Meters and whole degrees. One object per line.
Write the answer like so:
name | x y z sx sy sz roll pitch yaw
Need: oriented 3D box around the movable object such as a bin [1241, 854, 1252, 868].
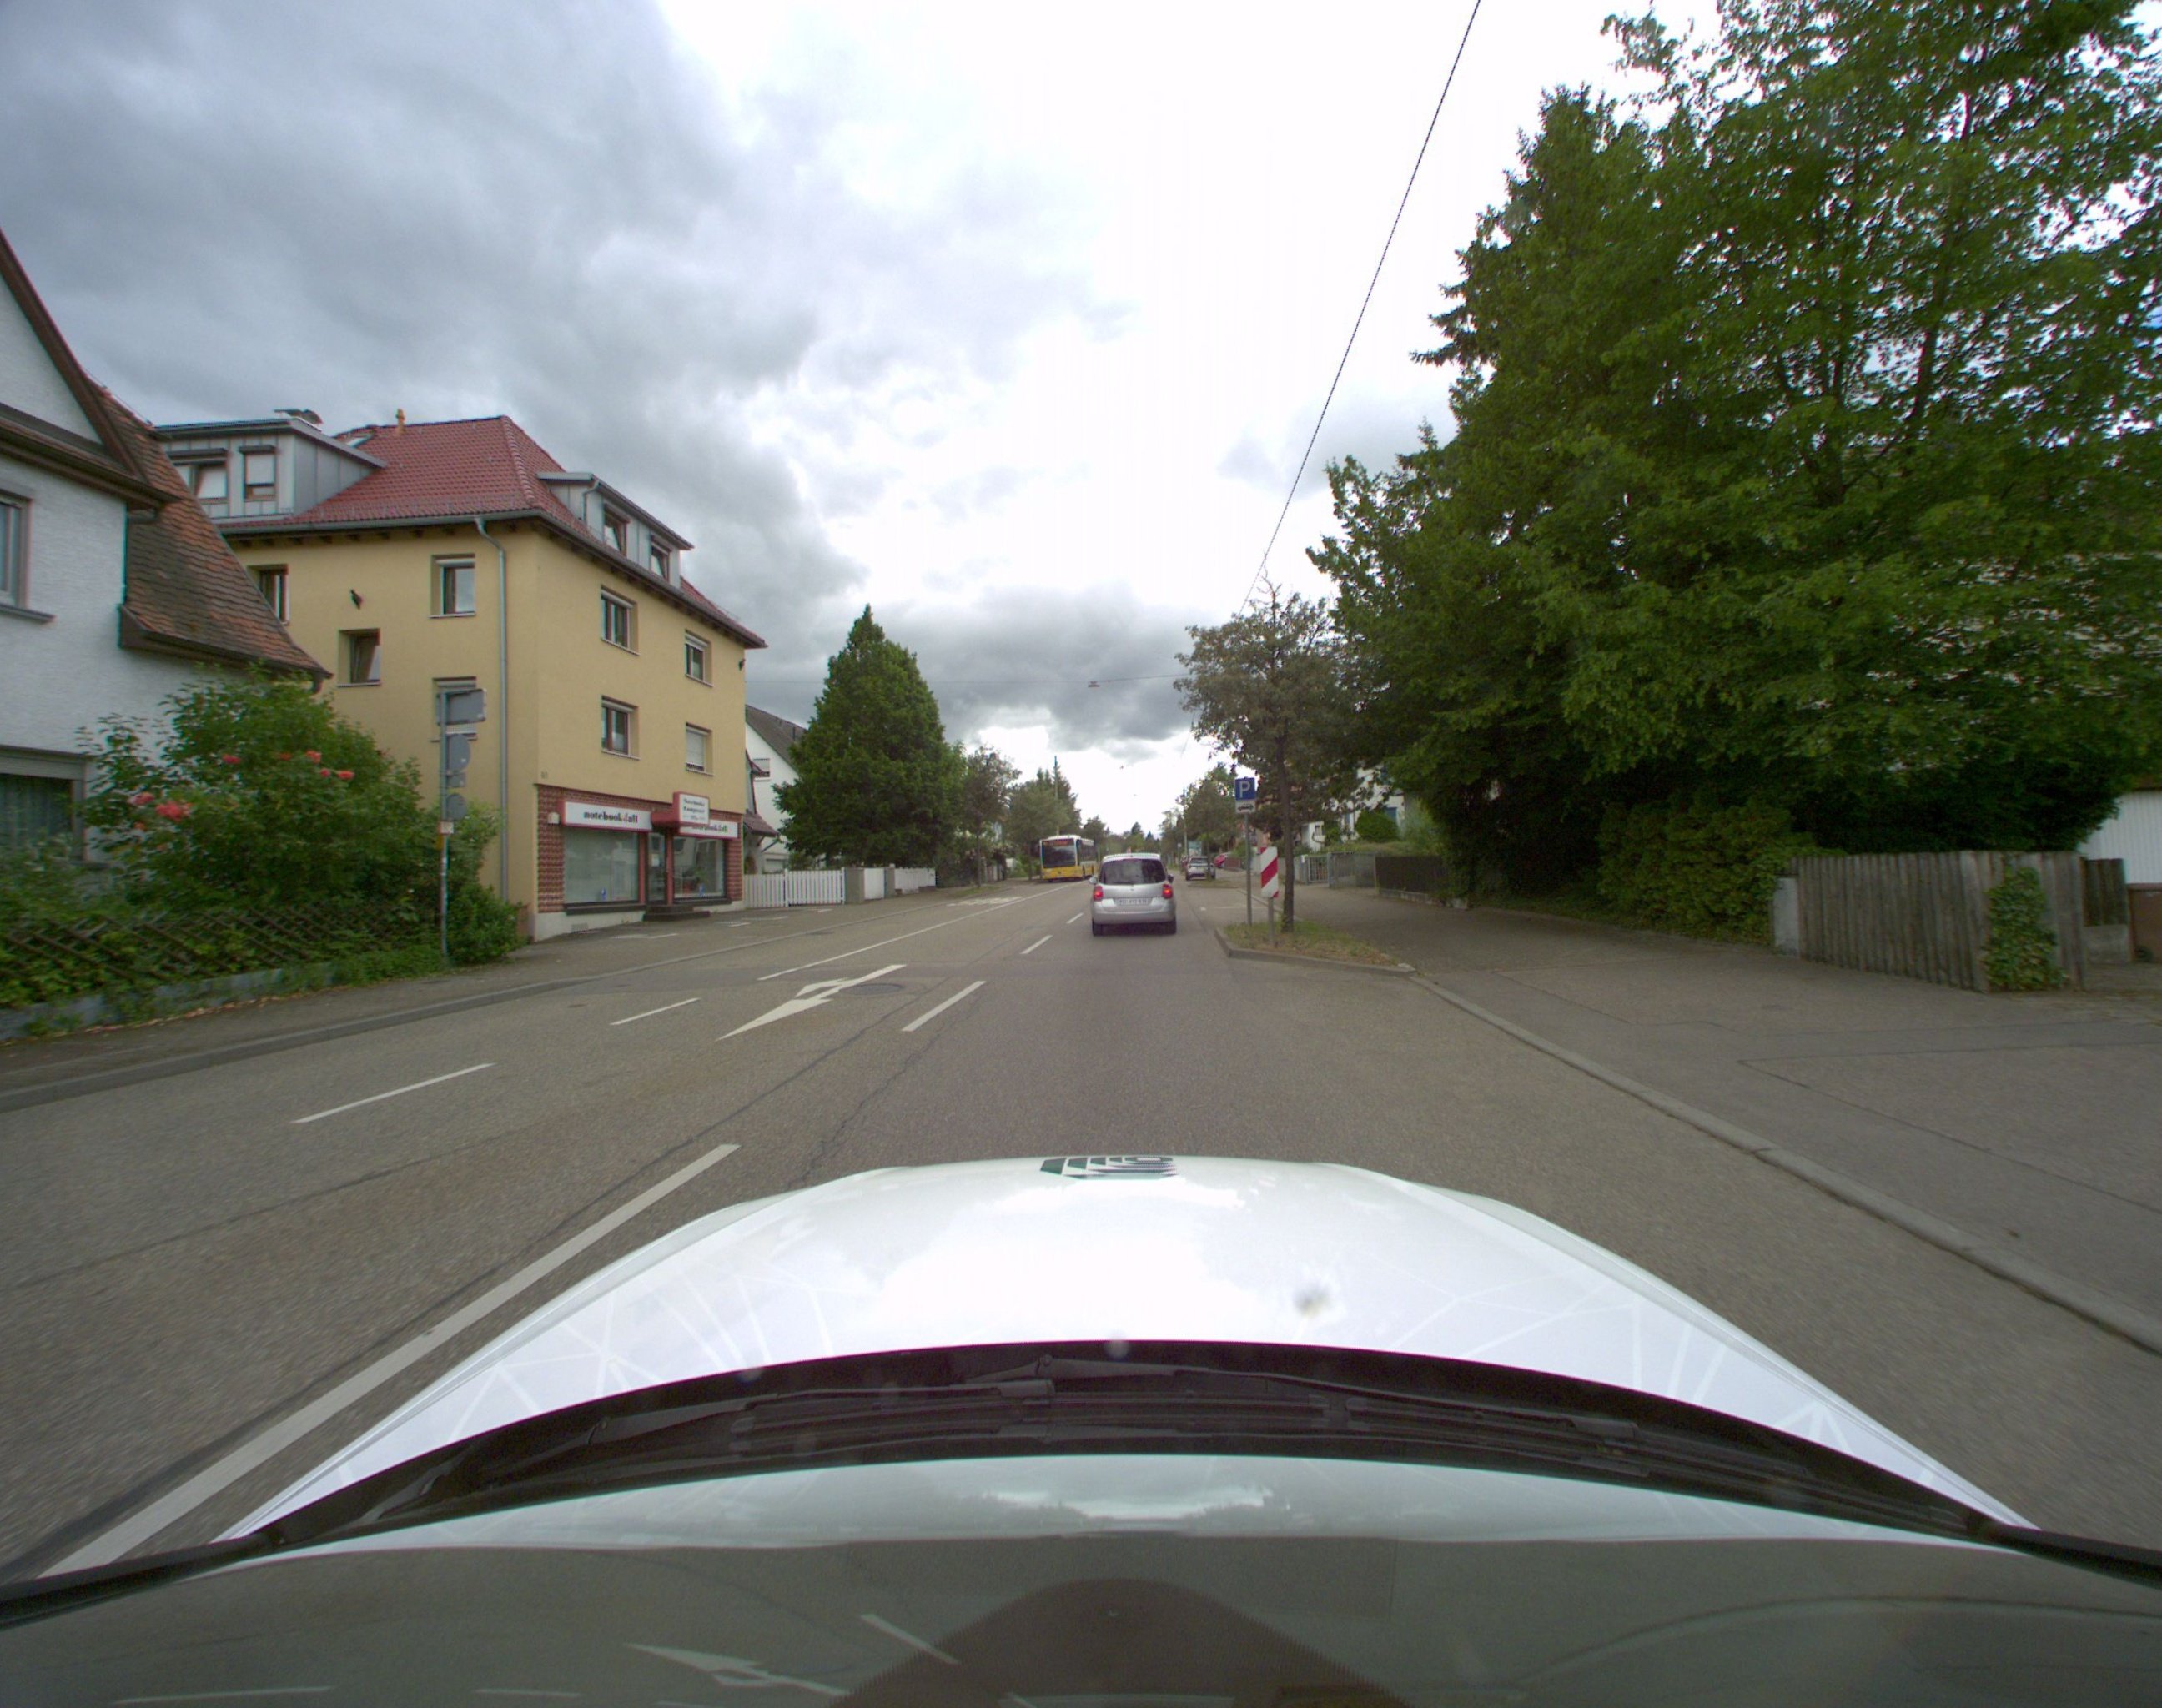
movable object such as a bin | 13.361 0.556 65.791 0.772 1.104 0.692 -2 0 4

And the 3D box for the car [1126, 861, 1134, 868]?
car | 11.941 2.499 198.111 1.899 1.618 4.000 -1 -1 1

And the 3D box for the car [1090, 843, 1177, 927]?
car | 1.173 0.628 17.251 1.622 1.557 4.005 0 -1 5

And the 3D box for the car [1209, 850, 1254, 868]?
car | 15.006 0.495 81.303 3.978 1.496 1.808 -5 -1 -3

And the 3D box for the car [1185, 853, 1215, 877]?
car | 7.150 0.681 49.249 1.641 1.382 4.006 -1 -1 6

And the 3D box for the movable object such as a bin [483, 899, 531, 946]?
movable object such as a bin | -12.272 1.454 17.411 0.550 0.949 0.608 -3 -3 8

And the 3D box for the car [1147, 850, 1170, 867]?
car | 7.819 0.456 82.085 1.817 1.675 3.586 -2 -1 12

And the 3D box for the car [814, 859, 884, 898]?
car | -10.887 1.099 38.567 1.799 1.564 4.620 -4 0 2

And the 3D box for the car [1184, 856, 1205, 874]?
car | 9.442 0.924 68.048 1.653 1.393 3.675 -2 0 8

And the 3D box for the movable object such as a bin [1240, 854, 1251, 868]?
movable object such as a bin | 13.470 0.534 66.544 0.772 1.104 0.692 -2 0 4

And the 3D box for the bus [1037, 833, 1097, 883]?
bus | -0.799 0.284 58.468 2.619 3.086 12.090 -3 -1 6
